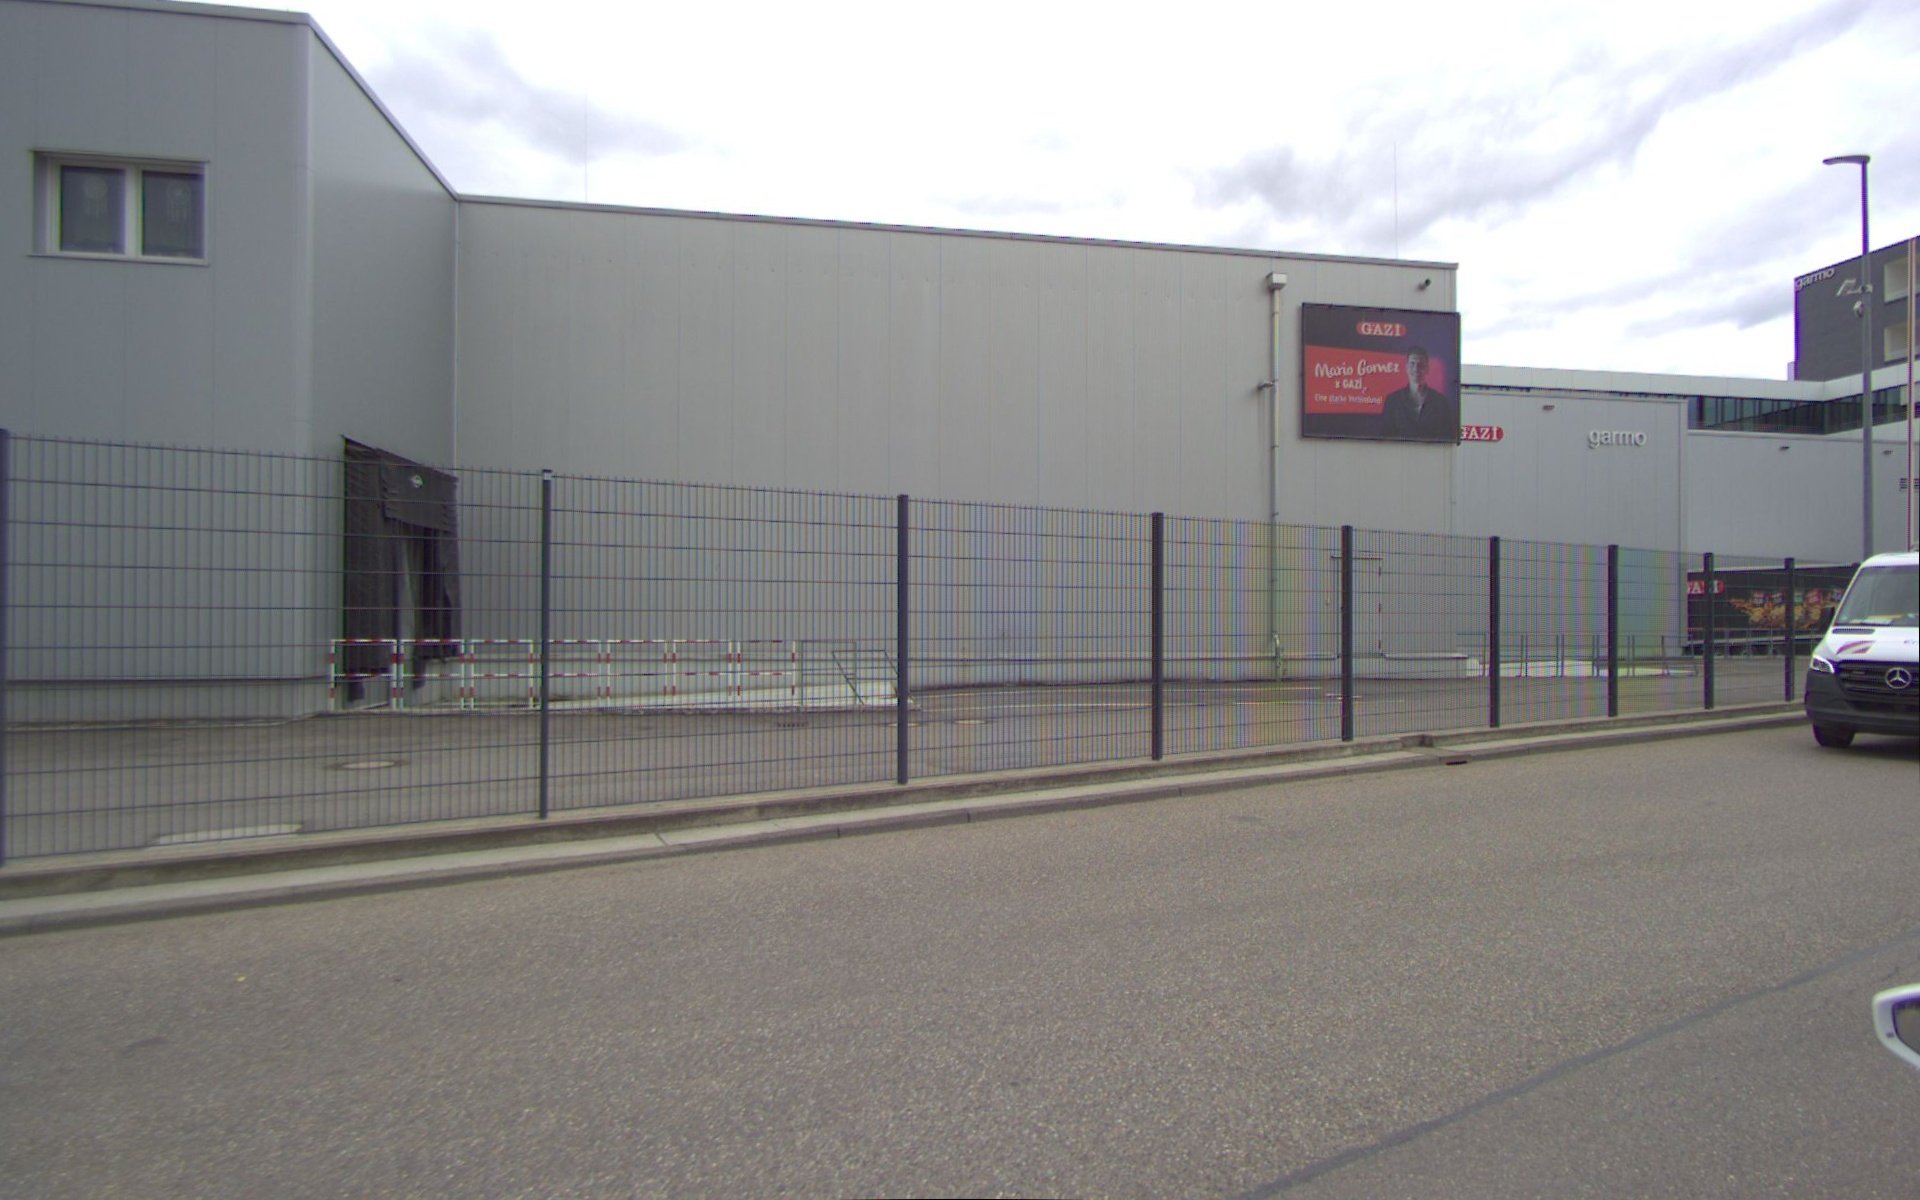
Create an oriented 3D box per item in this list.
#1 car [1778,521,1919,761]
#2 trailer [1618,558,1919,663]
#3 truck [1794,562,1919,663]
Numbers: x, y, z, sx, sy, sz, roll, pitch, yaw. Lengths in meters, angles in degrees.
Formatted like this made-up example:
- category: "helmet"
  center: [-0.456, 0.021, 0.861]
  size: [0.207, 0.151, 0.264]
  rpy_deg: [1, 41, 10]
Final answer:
- category: "car"
  center: [11.950, 0.445, 11.766]
  size: [5.195, 2.448, 1.984]
  rpy_deg: [1, 0, -31]
- category: "trailer"
  center: [33.687, 0.469, 41.468]
  size: [12.389, 4.084, 2.747]
  rpy_deg: [1, 0, -10]
- category: "truck"
  center: [39.565, 0.546, 42.482]
  size: [6.964, 4.084, 2.747]
  rpy_deg: [1, 0, -10]
